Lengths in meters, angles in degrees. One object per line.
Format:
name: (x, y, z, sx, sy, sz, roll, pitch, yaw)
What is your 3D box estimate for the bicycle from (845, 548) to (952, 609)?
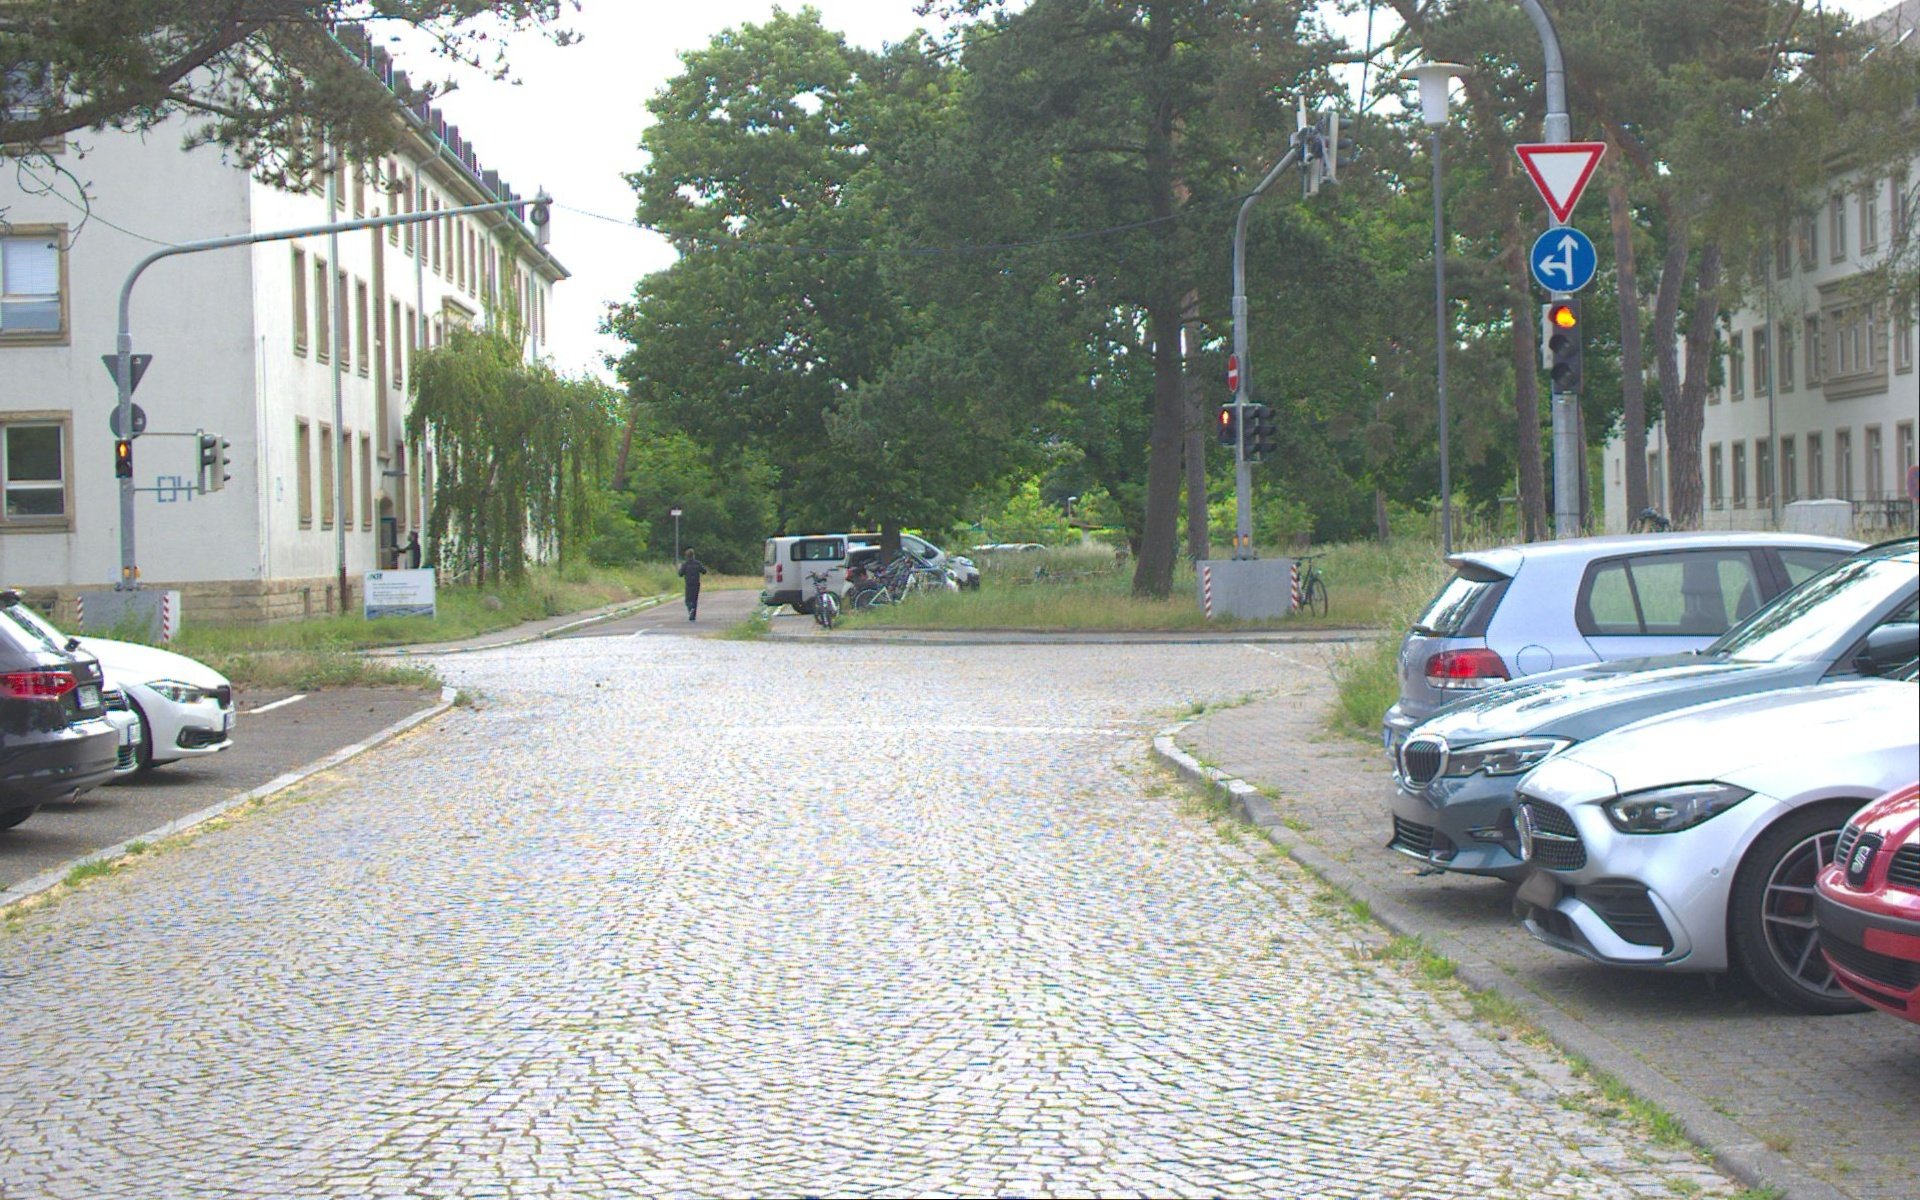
bicycle: (-1.175, -0.413, 65.525, 1.954, 1.128, 0.588, -1, 1, -8)

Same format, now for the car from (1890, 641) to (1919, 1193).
car: (4.082, 0.626, 6.911, 3.862, 1.232, 1.758, -3, 1, -3)

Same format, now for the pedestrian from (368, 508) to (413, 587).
pedestrian: (-13.416, -1.238, 80.933, 0.774, 1.831, 0.741, -2, 1, -33)

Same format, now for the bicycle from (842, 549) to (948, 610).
bicycle: (-1.260, -0.400, 66.157, 1.954, 1.113, 0.588, -1, 1, -8)

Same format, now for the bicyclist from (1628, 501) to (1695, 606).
bicyclist: (9.566, -0.641, 46.909, 0.749, 1.405, 0.605, -1, 1, -2)

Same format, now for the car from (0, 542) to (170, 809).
car: (-6.989, 0.403, 21.088, 3.947, 1.558, 1.650, 1, 1, -5)

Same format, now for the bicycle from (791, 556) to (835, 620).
bicycle: (-2.668, -0.226, 62.290, 0.603, 1.128, 1.962, -1, 1, -7)

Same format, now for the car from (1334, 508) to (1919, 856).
car: (3.918, 0.336, 16.799, 3.927, 1.472, 1.642, -3, 1, 0)

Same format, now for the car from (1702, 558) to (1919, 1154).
car: (4.409, 0.522, 9.404, 4.261, 1.411, 1.871, -3, 1, -2)

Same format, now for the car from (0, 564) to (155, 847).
car: (-6.329, 0.503, 18.320, 3.745, 1.424, 1.583, 1, 1, -5)

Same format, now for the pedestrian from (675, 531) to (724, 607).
pedestrian: (-5.645, -0.668, 74.582, 0.738, 1.613, 0.776, -2, 1, -34)

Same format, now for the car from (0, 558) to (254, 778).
car: (-6.989, 0.418, 23.626, 3.947, 1.416, 1.650, 1, 1, -2)

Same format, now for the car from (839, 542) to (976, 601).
car: (-1.244, -0.673, 80.243, 3.005, 1.264, 1.535, -2, 1, -7)

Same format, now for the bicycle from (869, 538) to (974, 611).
bicycle: (-0.750, -0.505, 67.000, 1.954, 1.379, 0.588, -1, 1, -8)

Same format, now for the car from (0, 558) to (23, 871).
car: (-6.336, 0.506, 15.721, 3.702, 1.474, 1.583, 1, 1, -5)

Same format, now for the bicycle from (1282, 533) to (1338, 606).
bicycle: (5.442, -0.487, 53.583, 0.586, 1.102, 1.962, -1, 1, -2)

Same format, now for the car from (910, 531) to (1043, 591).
car: (0.407, -0.999, 87.537, 3.231, 1.411, 1.725, -2, 1, -4)

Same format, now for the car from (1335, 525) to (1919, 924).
car: (4.080, 0.405, 14.351, 4.680, 1.411, 1.871, -3, 1, -4)

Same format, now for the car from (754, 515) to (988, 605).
car: (-2.191, -0.991, 83.585, 5.359, 1.918, 2.025, -3, 1, -11)

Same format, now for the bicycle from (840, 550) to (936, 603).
bicycle: (-1.524, -0.501, 72.672, 1.955, 1.066, 0.588, -2, 1, -26)

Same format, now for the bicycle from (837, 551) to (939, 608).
bicycle: (-1.418, -0.400, 67.637, 1.955, 1.066, 0.588, -2, 1, -31)

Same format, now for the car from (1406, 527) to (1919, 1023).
car: (3.957, 0.437, 11.660, 4.421, 1.411, 1.871, -3, 1, -11)
